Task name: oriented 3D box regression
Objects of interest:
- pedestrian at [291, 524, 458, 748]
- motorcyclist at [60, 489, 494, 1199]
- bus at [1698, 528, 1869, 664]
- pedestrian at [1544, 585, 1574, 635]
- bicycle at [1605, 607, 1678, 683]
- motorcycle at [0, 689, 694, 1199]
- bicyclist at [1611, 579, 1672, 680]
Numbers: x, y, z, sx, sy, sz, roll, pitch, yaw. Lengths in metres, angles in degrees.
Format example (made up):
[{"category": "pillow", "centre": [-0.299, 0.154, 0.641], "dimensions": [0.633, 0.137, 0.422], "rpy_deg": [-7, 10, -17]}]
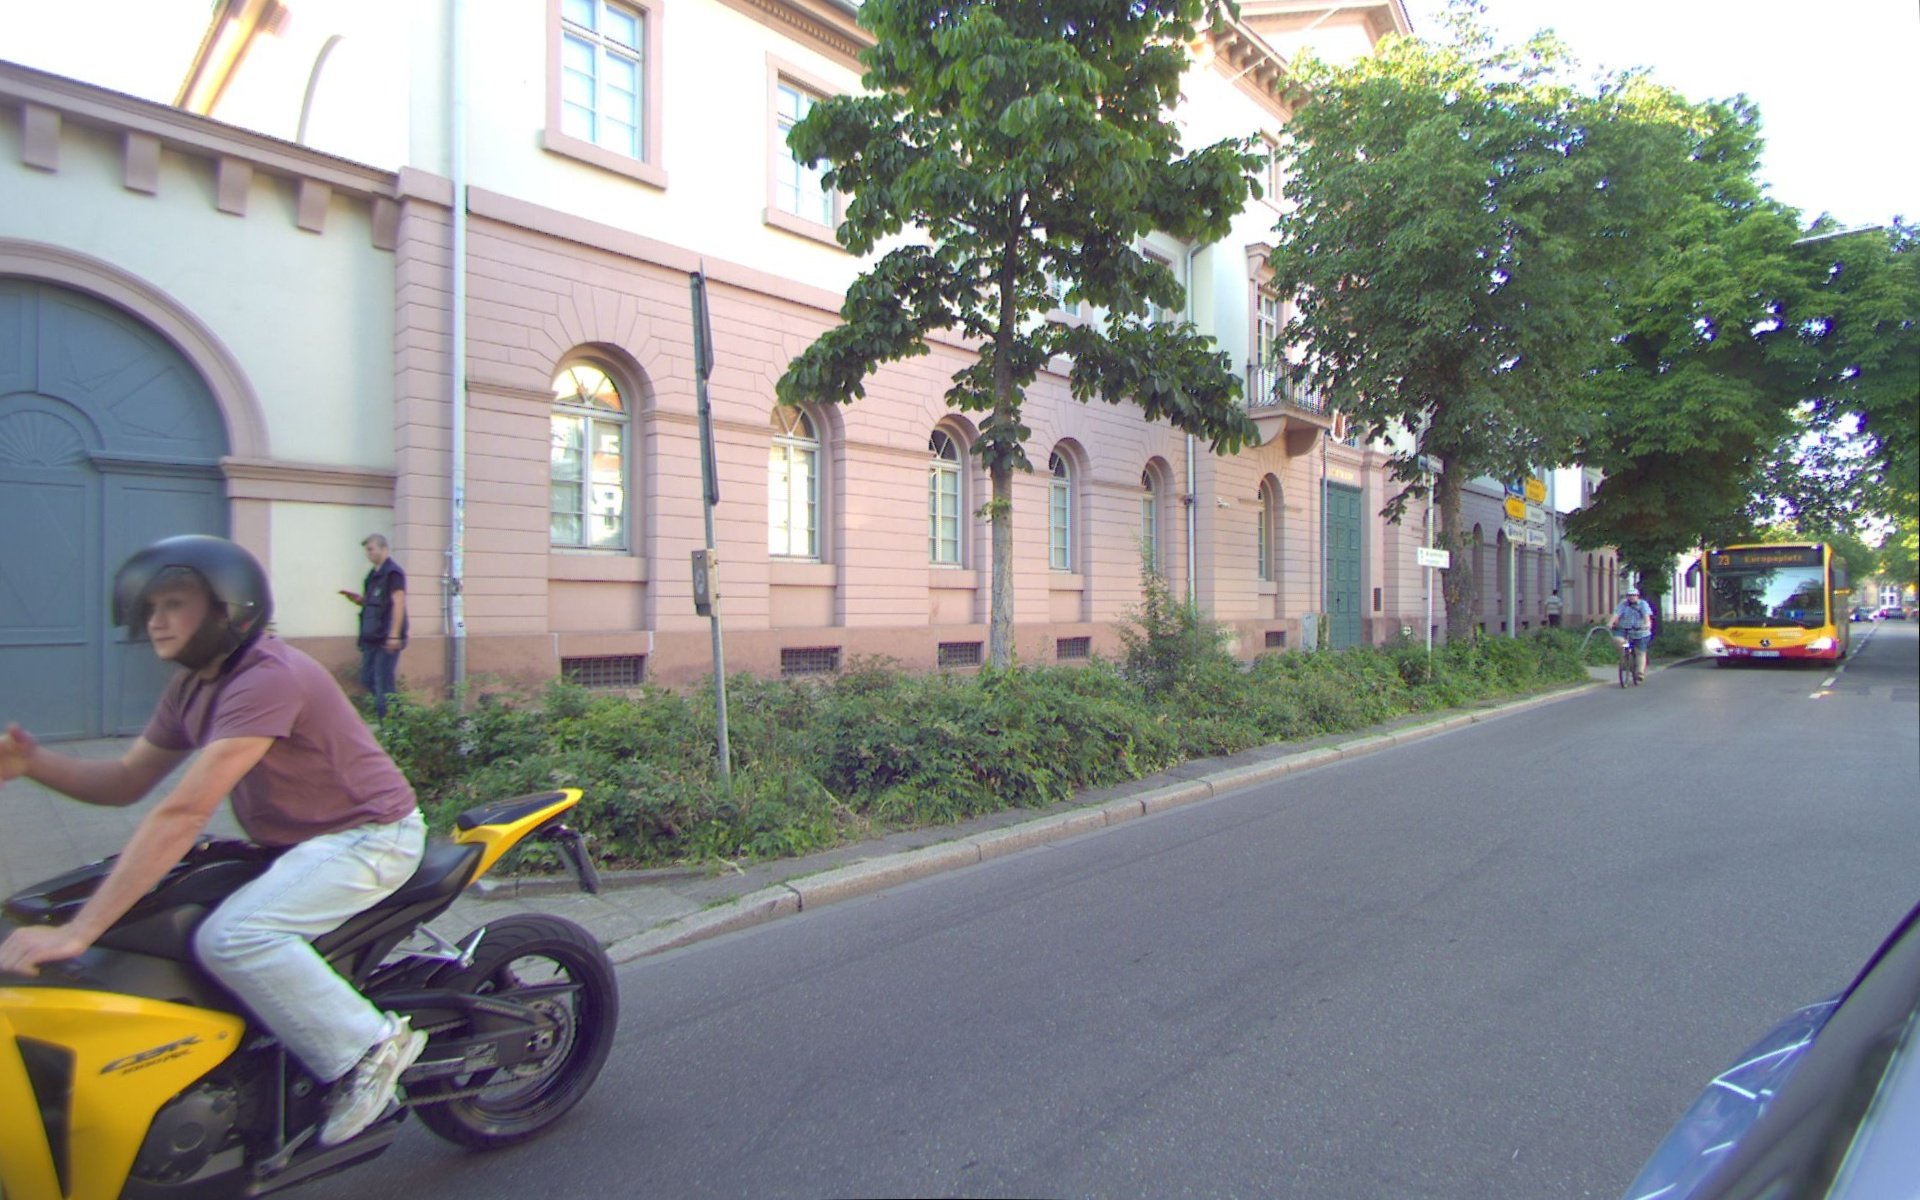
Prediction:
[{"category": "pedestrian", "centre": [-5.231, 0.289, 9.062], "dimensions": [0.798, 1.862, 1.066], "rpy_deg": [3, 1, 42]}, {"category": "motorcyclist", "centre": [-1.653, 0.515, 2.453], "dimensions": [0.790, 1.438, 0.689], "rpy_deg": [-2, -2, 41]}, {"category": "bus", "centre": [23.036, -0.044, 27.951], "dimensions": [2.703, 3.039, 11.891], "rpy_deg": [-3, -2, 43]}, {"category": "pedestrian", "centre": [22.436, 0.373, 37.907], "dimensions": [0.797, 1.855, 0.915], "rpy_deg": [0, -1, 41]}, {"category": "bicycle", "centre": [12.937, 0.826, 19.182], "dimensions": [0.781, 1.347, 2.045], "rpy_deg": [-3, -2, 43]}, {"category": "motorcycle", "centre": [-1.684, 0.876, 2.400], "dimensions": [0.790, 1.175, 1.938], "rpy_deg": [-2, -2, 40]}, {"category": "bicyclist", "centre": [12.911, 0.561, 19.176], "dimensions": [0.781, 1.863, 0.813], "rpy_deg": [-3, -3, 43]}]
